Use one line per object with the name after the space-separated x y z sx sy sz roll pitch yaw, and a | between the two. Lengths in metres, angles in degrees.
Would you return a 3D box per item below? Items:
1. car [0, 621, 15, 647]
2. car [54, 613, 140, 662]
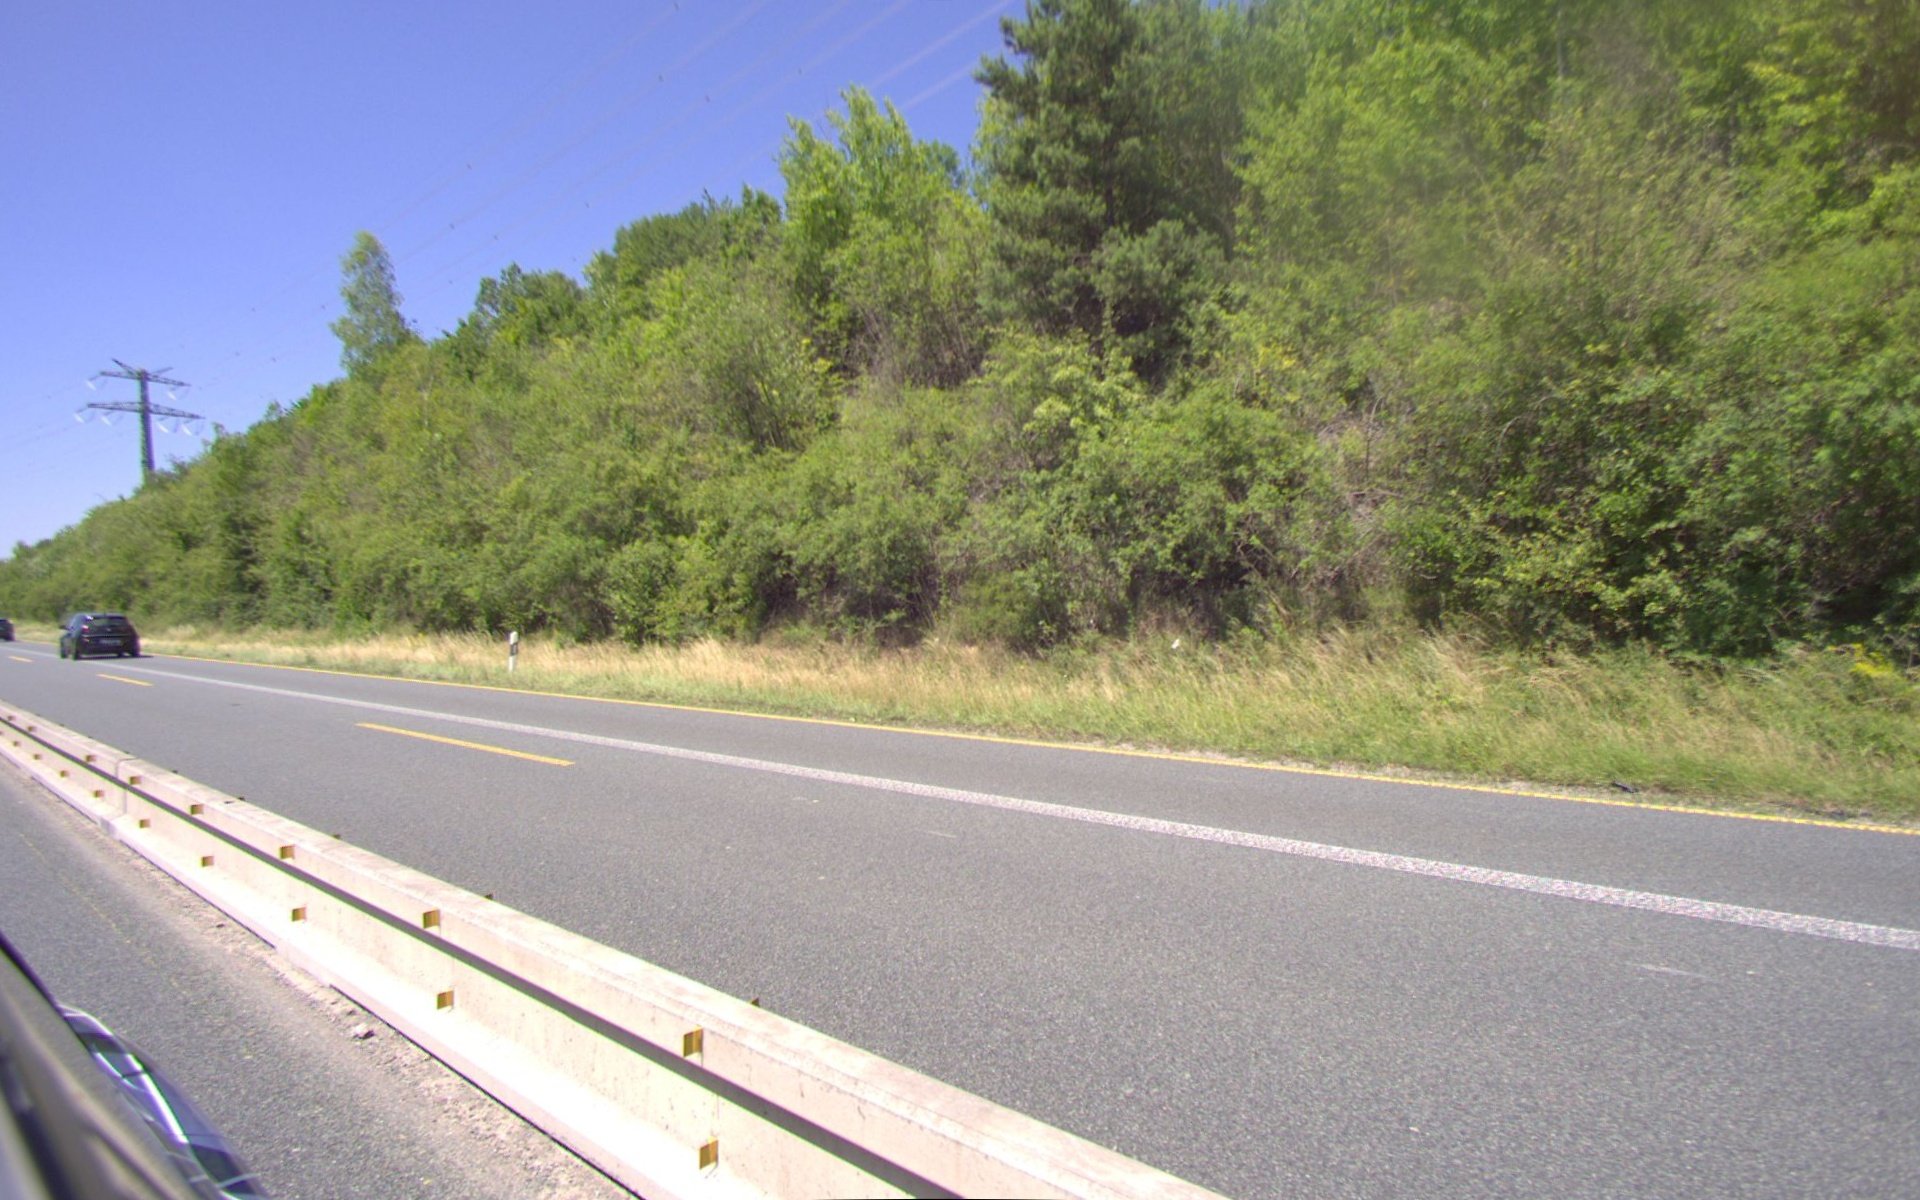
-58.963 2.080 61.620 4.183 1.533 1.705 -1 0 42 | car
-30.047 1.280 35.191 4.068 1.589 1.760 -1 0 42 | car
